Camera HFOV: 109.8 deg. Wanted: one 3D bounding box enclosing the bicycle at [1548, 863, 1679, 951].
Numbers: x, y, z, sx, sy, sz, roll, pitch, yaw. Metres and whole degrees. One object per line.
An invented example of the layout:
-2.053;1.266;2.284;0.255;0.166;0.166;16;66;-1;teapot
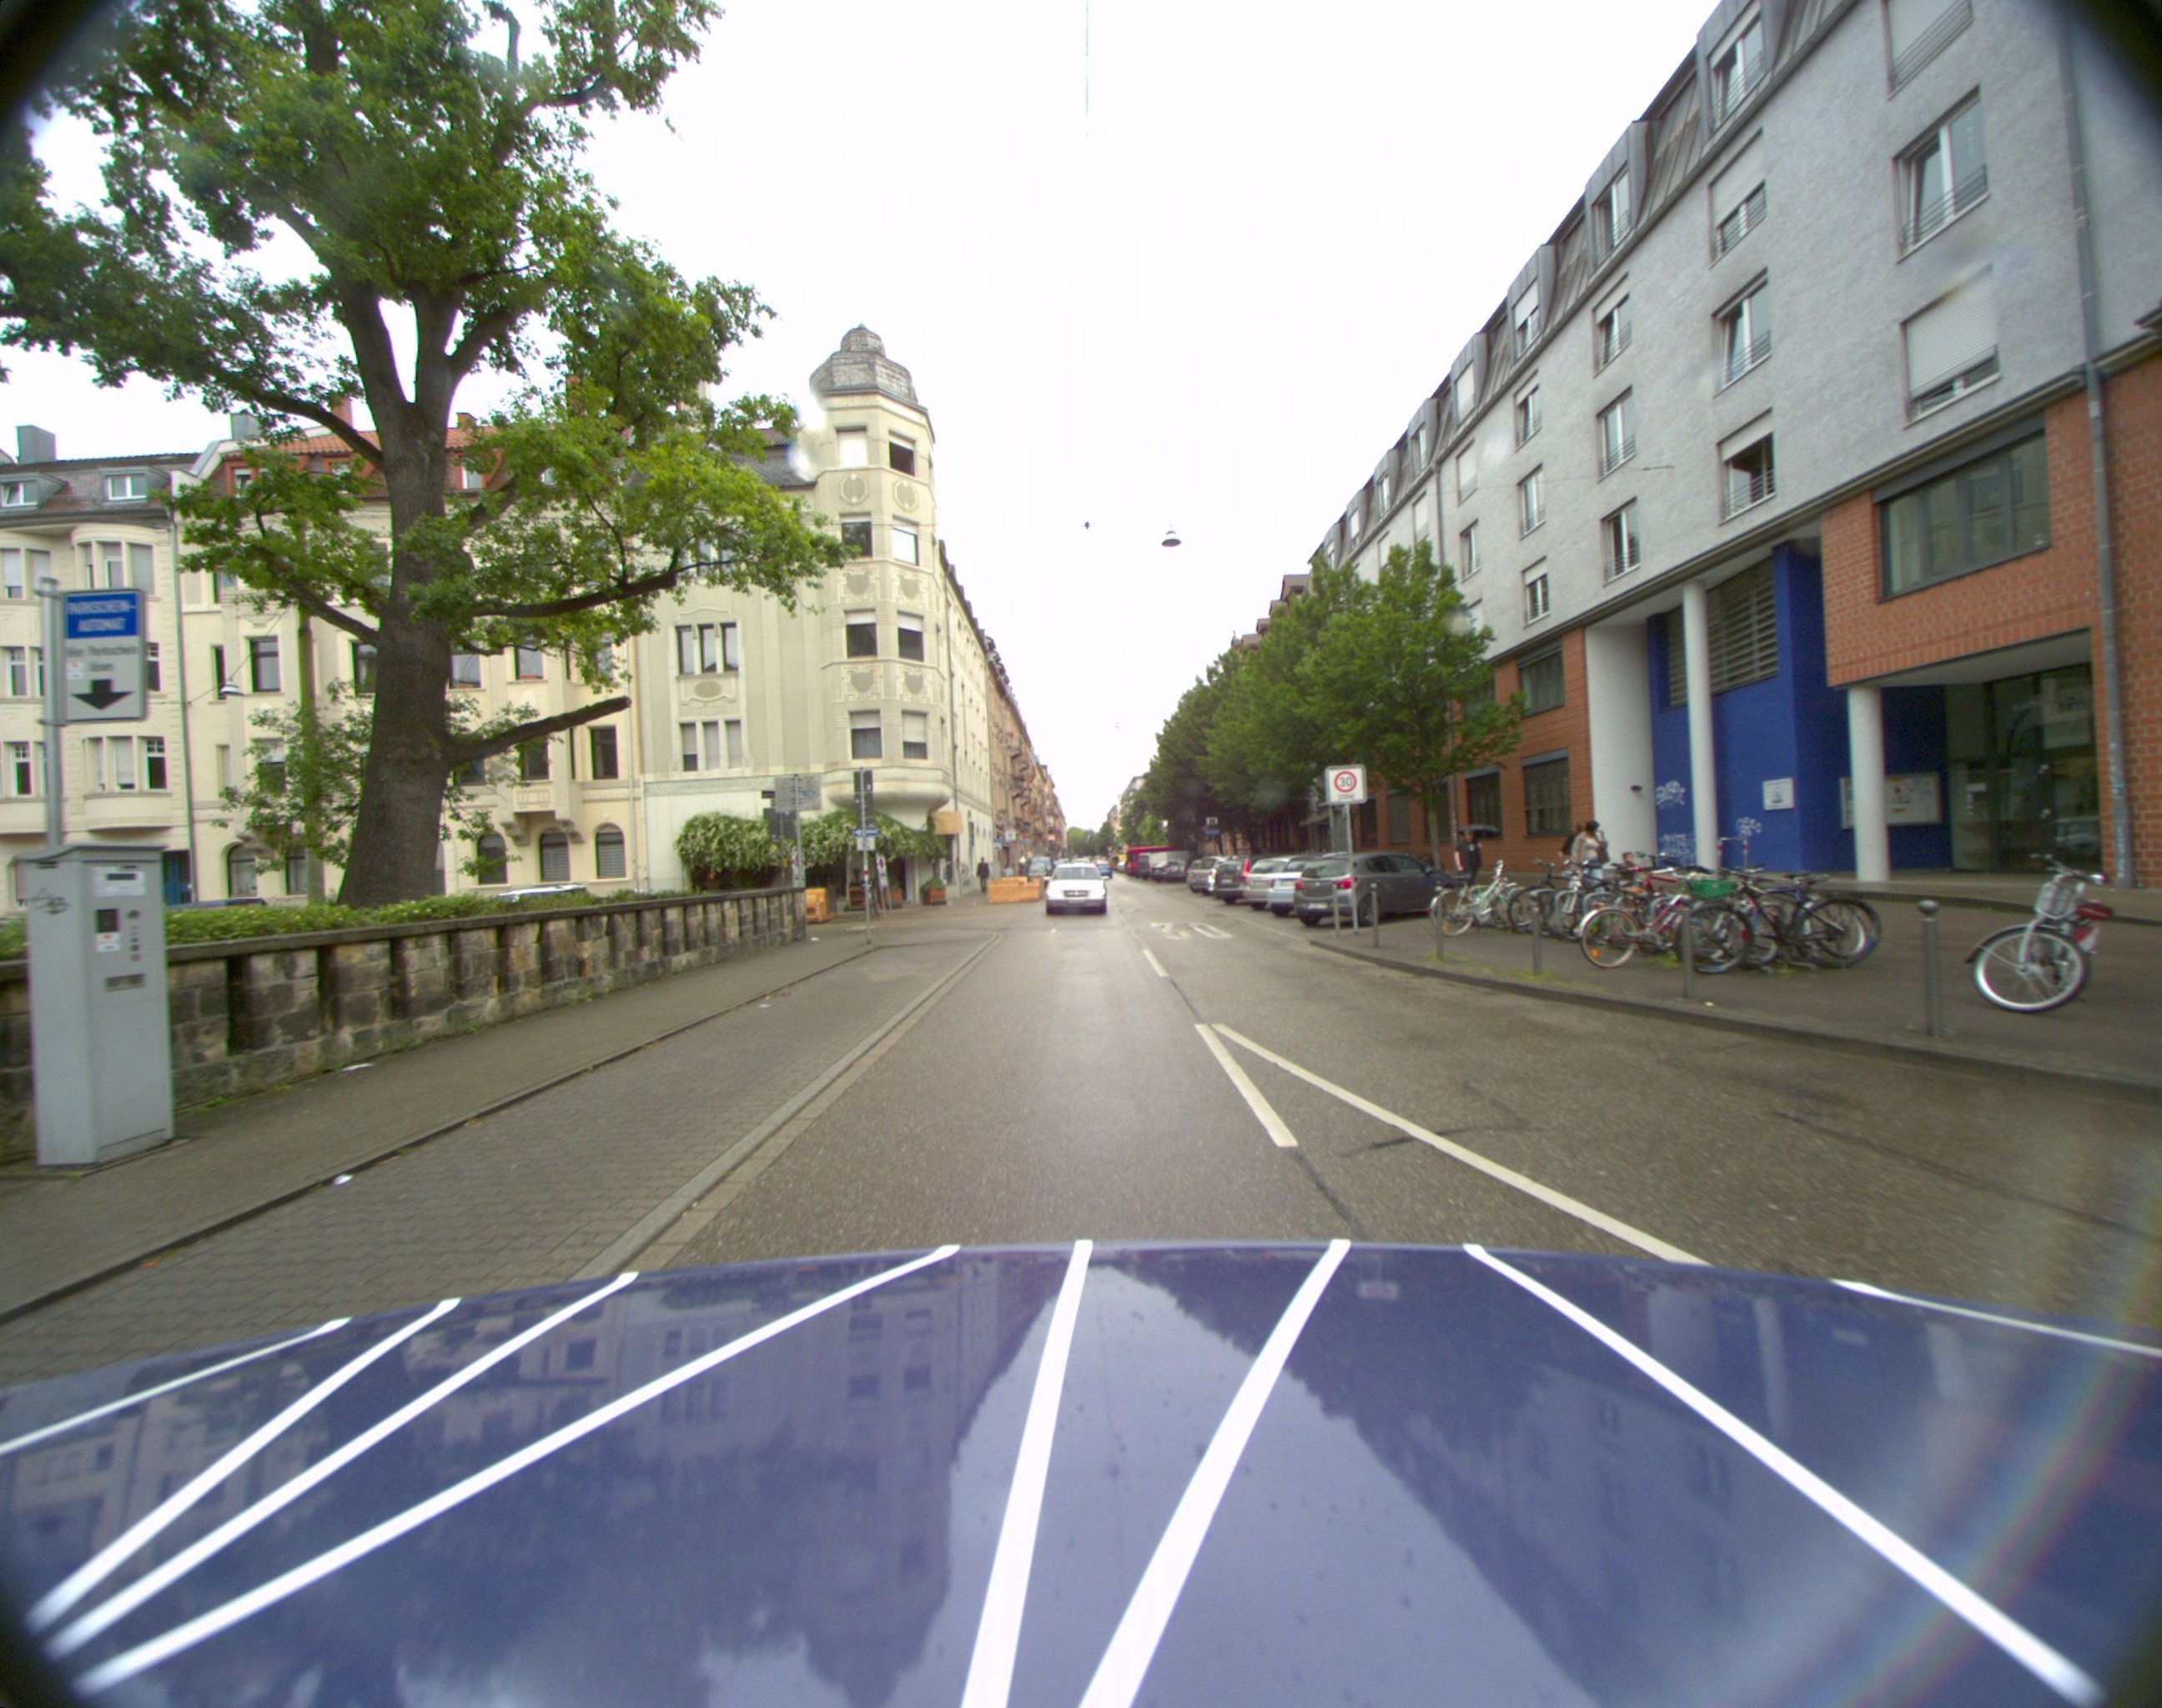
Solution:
7.570;0.725;10.813;1.611;1.099;0.520;-4;1;-12;bicycle

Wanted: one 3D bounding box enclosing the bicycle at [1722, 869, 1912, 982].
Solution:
7.648;0.734;7.930;1.462;1.058;0.418;-4;1;5;bicycle

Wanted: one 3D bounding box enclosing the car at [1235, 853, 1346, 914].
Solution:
5.990;0.813;21.641;3.084;1.493;1.449;-3;0;-39;car

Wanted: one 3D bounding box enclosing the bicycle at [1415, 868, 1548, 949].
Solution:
6.266;0.839;11.922;1.812;1.099;0.472;-4;1;-4;bicycle

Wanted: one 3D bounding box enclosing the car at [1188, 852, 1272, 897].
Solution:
5.923;0.805;30.228;2.985;1.546;1.370;-3;0;-28;car

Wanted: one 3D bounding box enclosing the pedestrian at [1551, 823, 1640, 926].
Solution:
9.173;0.356;13.585;0.827;1.697;0.859;-7;0;2;pedestrian

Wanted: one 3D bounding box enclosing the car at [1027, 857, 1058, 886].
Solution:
-2.437;1.091;48.717;1.726;1.794;3.462;-2;0;1;car

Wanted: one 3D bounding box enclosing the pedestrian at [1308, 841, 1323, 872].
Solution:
12.220;0.117;39.669;0.605;1.601;0.372;-2;0;0;pedestrian

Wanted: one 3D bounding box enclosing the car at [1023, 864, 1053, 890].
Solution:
-2.431;1.300;43.638;1.447;1.348;3.204;-2;0;1;car

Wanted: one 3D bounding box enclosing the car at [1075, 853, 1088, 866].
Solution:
0.102;0.918;124.573;1.998;2.002;4.000;-2;0;2;car

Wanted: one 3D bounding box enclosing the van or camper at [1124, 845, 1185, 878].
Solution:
6.165;0.598;63.664;4.603;2.597;2.000;-2;0;-26;van or camper

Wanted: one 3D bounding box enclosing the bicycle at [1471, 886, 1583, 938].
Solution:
7.266;0.945;12.405;1.473;0.717;0.498;-4;1;4;bicycle

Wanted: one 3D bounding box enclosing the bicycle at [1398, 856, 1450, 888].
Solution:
11.555;0.596;25.604;1.590;0.978;0.445;-2;0;-7;bicycle

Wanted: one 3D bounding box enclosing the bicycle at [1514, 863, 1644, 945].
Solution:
7.500;0.736;11.466;1.610;1.099;0.520;-4;1;-4;bicycle

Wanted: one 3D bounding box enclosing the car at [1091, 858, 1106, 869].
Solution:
2.021;1.090;87.722;1.524;1.301;3.312;-2;0;-1;car

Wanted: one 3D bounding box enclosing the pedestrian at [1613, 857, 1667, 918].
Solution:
10.192;0.602;13.873;0.485;1.044;0.528;-7;0;0;pedestrian

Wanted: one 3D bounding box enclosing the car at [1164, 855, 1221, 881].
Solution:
6.974;0.840;47.450;1.685;1.481;3.799;-2;0;41;car

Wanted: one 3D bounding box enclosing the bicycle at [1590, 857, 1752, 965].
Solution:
7.427;0.691;9.567;1.815;1.187;0.520;-4;1;-12;bicycle

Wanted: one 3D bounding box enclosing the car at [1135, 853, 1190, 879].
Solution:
6.218;0.883;57.729;4.338;1.822;1.572;-2;0;-40;car

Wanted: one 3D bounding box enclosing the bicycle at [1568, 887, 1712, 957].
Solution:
7.466;0.888;10.158;1.773;0.757;0.456;-4;1;-12;bicycle

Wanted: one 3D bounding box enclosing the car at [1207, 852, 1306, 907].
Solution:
5.679;0.803;24.533;3.084;1.543;1.449;-3;0;-39;car

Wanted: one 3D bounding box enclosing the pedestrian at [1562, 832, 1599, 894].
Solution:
12.451;0.220;18.949;0.515;1.521;0.548;-2;0;-2;pedestrian

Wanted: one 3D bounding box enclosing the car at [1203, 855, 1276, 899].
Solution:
5.809;0.829;27.764;2.506;1.442;1.191;-3;0;-39;car

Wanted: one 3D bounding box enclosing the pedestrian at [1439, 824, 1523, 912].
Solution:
9.359;0.317;17.840;1.228;1.870;1.055;-7;0;1;pedestrian

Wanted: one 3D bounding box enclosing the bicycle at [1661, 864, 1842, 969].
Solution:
7.628;0.715;8.703;1.461;1.096;0.462;-4;1;15;bicycle

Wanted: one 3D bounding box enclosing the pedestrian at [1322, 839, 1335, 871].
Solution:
12.910;0.053;39.628;0.514;1.601;0.425;-2;0;2;pedestrian

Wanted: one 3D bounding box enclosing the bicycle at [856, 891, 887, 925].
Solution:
-6.854;1.745;24.944;0.390;0.888;2.023;-2;2;1;bicycle

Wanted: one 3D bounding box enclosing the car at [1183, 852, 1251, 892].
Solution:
5.920;0.791;33.029;2.685;1.546;1.148;-3;0;-28;car

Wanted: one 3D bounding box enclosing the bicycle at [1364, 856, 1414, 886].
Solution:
10.948;0.603;26.986;1.590;0.978;0.445;-2;0;-7;bicycle

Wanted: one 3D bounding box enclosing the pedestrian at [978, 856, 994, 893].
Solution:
-4.796;1.020;38.388;0.646;1.862;0.693;-2;0;1;pedestrian

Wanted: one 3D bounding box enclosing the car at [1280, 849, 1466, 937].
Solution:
6.206;0.758;16.101;3.628;1.494;1.736;-3;1;-30;car

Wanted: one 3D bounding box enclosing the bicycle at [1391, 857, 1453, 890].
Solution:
11.042;0.618;24.595;1.850;0.978;0.445;-2;0;-7;bicycle

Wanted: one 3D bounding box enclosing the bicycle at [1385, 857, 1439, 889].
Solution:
10.922;0.619;25.070;1.590;0.978;0.445;-2;0;-7;bicycle

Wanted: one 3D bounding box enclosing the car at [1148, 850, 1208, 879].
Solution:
6.943;0.734;54.203;4.338;1.884;1.685;-2;0;-40;car

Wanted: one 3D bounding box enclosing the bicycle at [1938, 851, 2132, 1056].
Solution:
7.455;0.671;5.913;1.922;1.209;0.768;-6;3;-34;bicycle

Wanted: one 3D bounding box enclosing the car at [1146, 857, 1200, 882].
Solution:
6.084;1.025;49.983;1.685;1.481;3.799;-2;0;41;car

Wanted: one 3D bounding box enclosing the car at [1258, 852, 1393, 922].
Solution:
6.133;0.790;19.029;3.083;1.494;1.449;-3;0;-30;car

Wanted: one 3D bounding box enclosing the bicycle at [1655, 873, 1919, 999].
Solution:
6.843;0.785;7.439;1.857;1.066;0.610;-4;1;6;bicycle

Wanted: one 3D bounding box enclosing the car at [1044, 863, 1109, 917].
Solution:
-0.092;1.030;23.308;1.764;1.420;4.000;-2;0;1;car

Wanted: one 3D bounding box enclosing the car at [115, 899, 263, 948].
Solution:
-29.288;2.258;24.999;3.270;1.401;1.448;-2;0;4;car

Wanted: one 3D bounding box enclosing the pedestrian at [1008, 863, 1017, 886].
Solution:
-4.224;1.259;46.881;0.482;1.452;0.392;-2;0;1;pedestrian

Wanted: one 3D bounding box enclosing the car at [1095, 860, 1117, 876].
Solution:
2.167;1.195;65.710;1.651;1.301;3.311;-2;0;-1;car

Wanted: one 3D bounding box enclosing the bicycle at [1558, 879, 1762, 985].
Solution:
6.279;0.831;8.286;1.800;0.987;0.520;-4;1;-1;bicycle

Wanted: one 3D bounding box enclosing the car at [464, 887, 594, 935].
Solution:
-18.252;1.855;25.178;3.270;1.401;1.448;-2;0;4;car

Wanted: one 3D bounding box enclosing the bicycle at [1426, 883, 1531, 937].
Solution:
6.806;0.958;13.041;1.473;0.800;0.497;-4;1;4;bicycle
